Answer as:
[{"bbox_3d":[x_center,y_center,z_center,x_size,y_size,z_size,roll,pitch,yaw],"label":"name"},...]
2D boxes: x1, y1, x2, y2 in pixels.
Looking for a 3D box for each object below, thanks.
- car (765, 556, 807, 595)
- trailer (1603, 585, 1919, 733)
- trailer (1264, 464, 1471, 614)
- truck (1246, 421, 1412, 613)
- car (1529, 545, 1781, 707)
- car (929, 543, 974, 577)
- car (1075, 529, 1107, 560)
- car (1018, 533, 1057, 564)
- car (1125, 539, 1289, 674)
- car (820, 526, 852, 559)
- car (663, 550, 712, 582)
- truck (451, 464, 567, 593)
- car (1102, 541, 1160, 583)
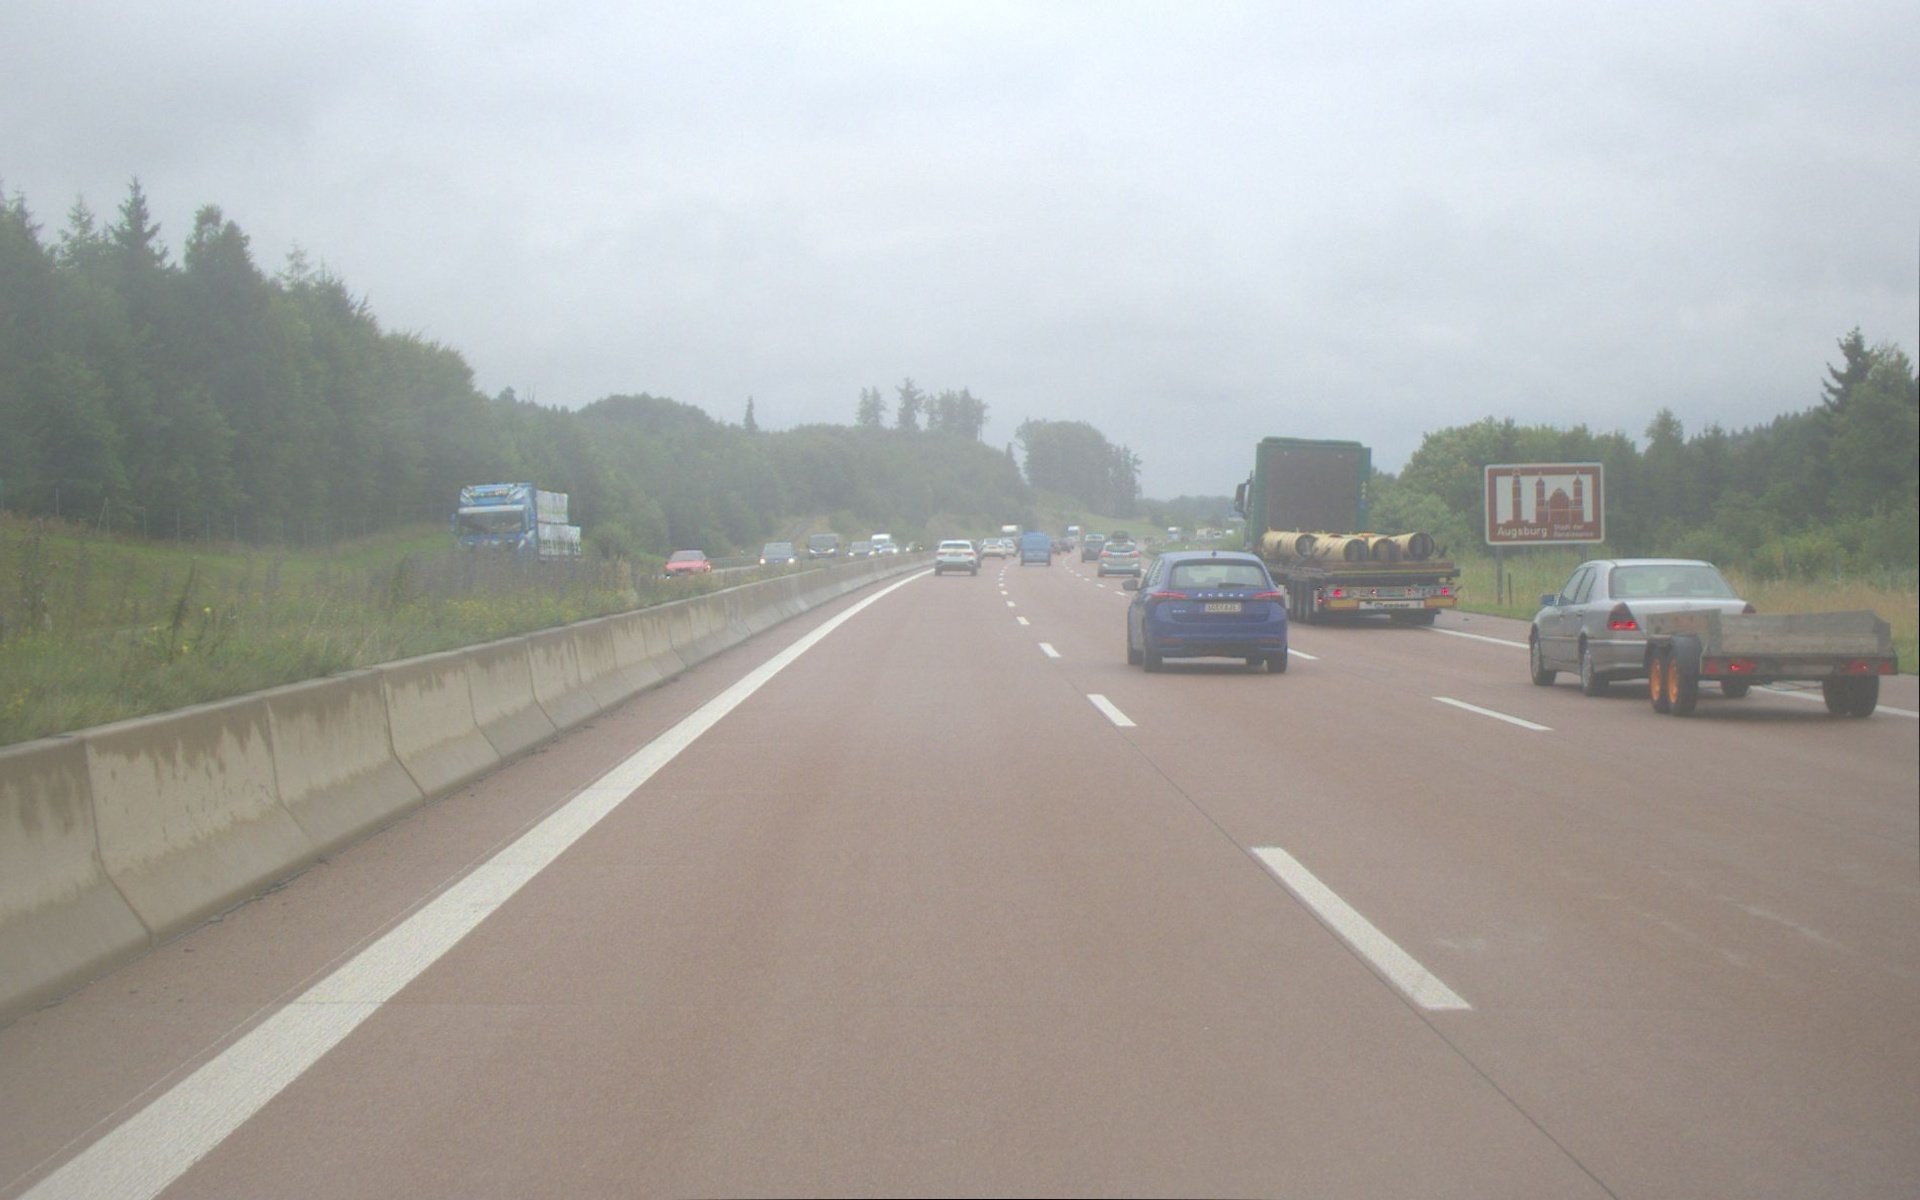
[{"bbox_3d":[-8.670,-1.212,171.632,1.818,1.835,6.238,1,0,-1],"label":"car"},{"bbox_3d":[7.415,0.502,32.105,1.971,1.162,4.639,1,1,1],"label":"trailer"},{"bbox_3d":[7.876,-1.103,67.940,2.881,2.666,11.398,1,0,1],"label":"trailer"},{"bbox_3d":[7.971,-1.726,75.091,2.897,3.951,6.988,1,0,1],"label":"truck"},{"bbox_3d":[7.352,0.252,36.813,1.698,1.606,4.977,0,0,0],"label":"car"},{"bbox_3d":[-0.401,-1.763,152.352,1.874,1.439,4.877,1,0,-1],"label":"car"},{"bbox_3d":[8.964,-3.802,235.571,1.993,2.007,4.000,1,0,1],"label":"car"},{"bbox_3d":[4.691,-3.134,209.127,2.322,1.744,4.877,1,0,1],"label":"car"},{"bbox_3d":[2.997,0.077,42.468,1.771,1.558,4.146,1,0,1],"label":"car"},{"bbox_3d":[-9.045,-4.166,251.062,2.102,2.272,5.396,1,0,0],"label":"car"},{"bbox_3d":[-12.057,-1.497,152.234,1.818,1.365,5.115,1,0,-1],"label":"car"},{"bbox_3d":[-16.171,-2.615,123.720,2.964,4.305,7.650,-4,2,-1],"label":"truck"},{"bbox_3d":[7.408,-1.644,149.457,2.322,1.744,4.877,1,0,1],"label":"car"}]
